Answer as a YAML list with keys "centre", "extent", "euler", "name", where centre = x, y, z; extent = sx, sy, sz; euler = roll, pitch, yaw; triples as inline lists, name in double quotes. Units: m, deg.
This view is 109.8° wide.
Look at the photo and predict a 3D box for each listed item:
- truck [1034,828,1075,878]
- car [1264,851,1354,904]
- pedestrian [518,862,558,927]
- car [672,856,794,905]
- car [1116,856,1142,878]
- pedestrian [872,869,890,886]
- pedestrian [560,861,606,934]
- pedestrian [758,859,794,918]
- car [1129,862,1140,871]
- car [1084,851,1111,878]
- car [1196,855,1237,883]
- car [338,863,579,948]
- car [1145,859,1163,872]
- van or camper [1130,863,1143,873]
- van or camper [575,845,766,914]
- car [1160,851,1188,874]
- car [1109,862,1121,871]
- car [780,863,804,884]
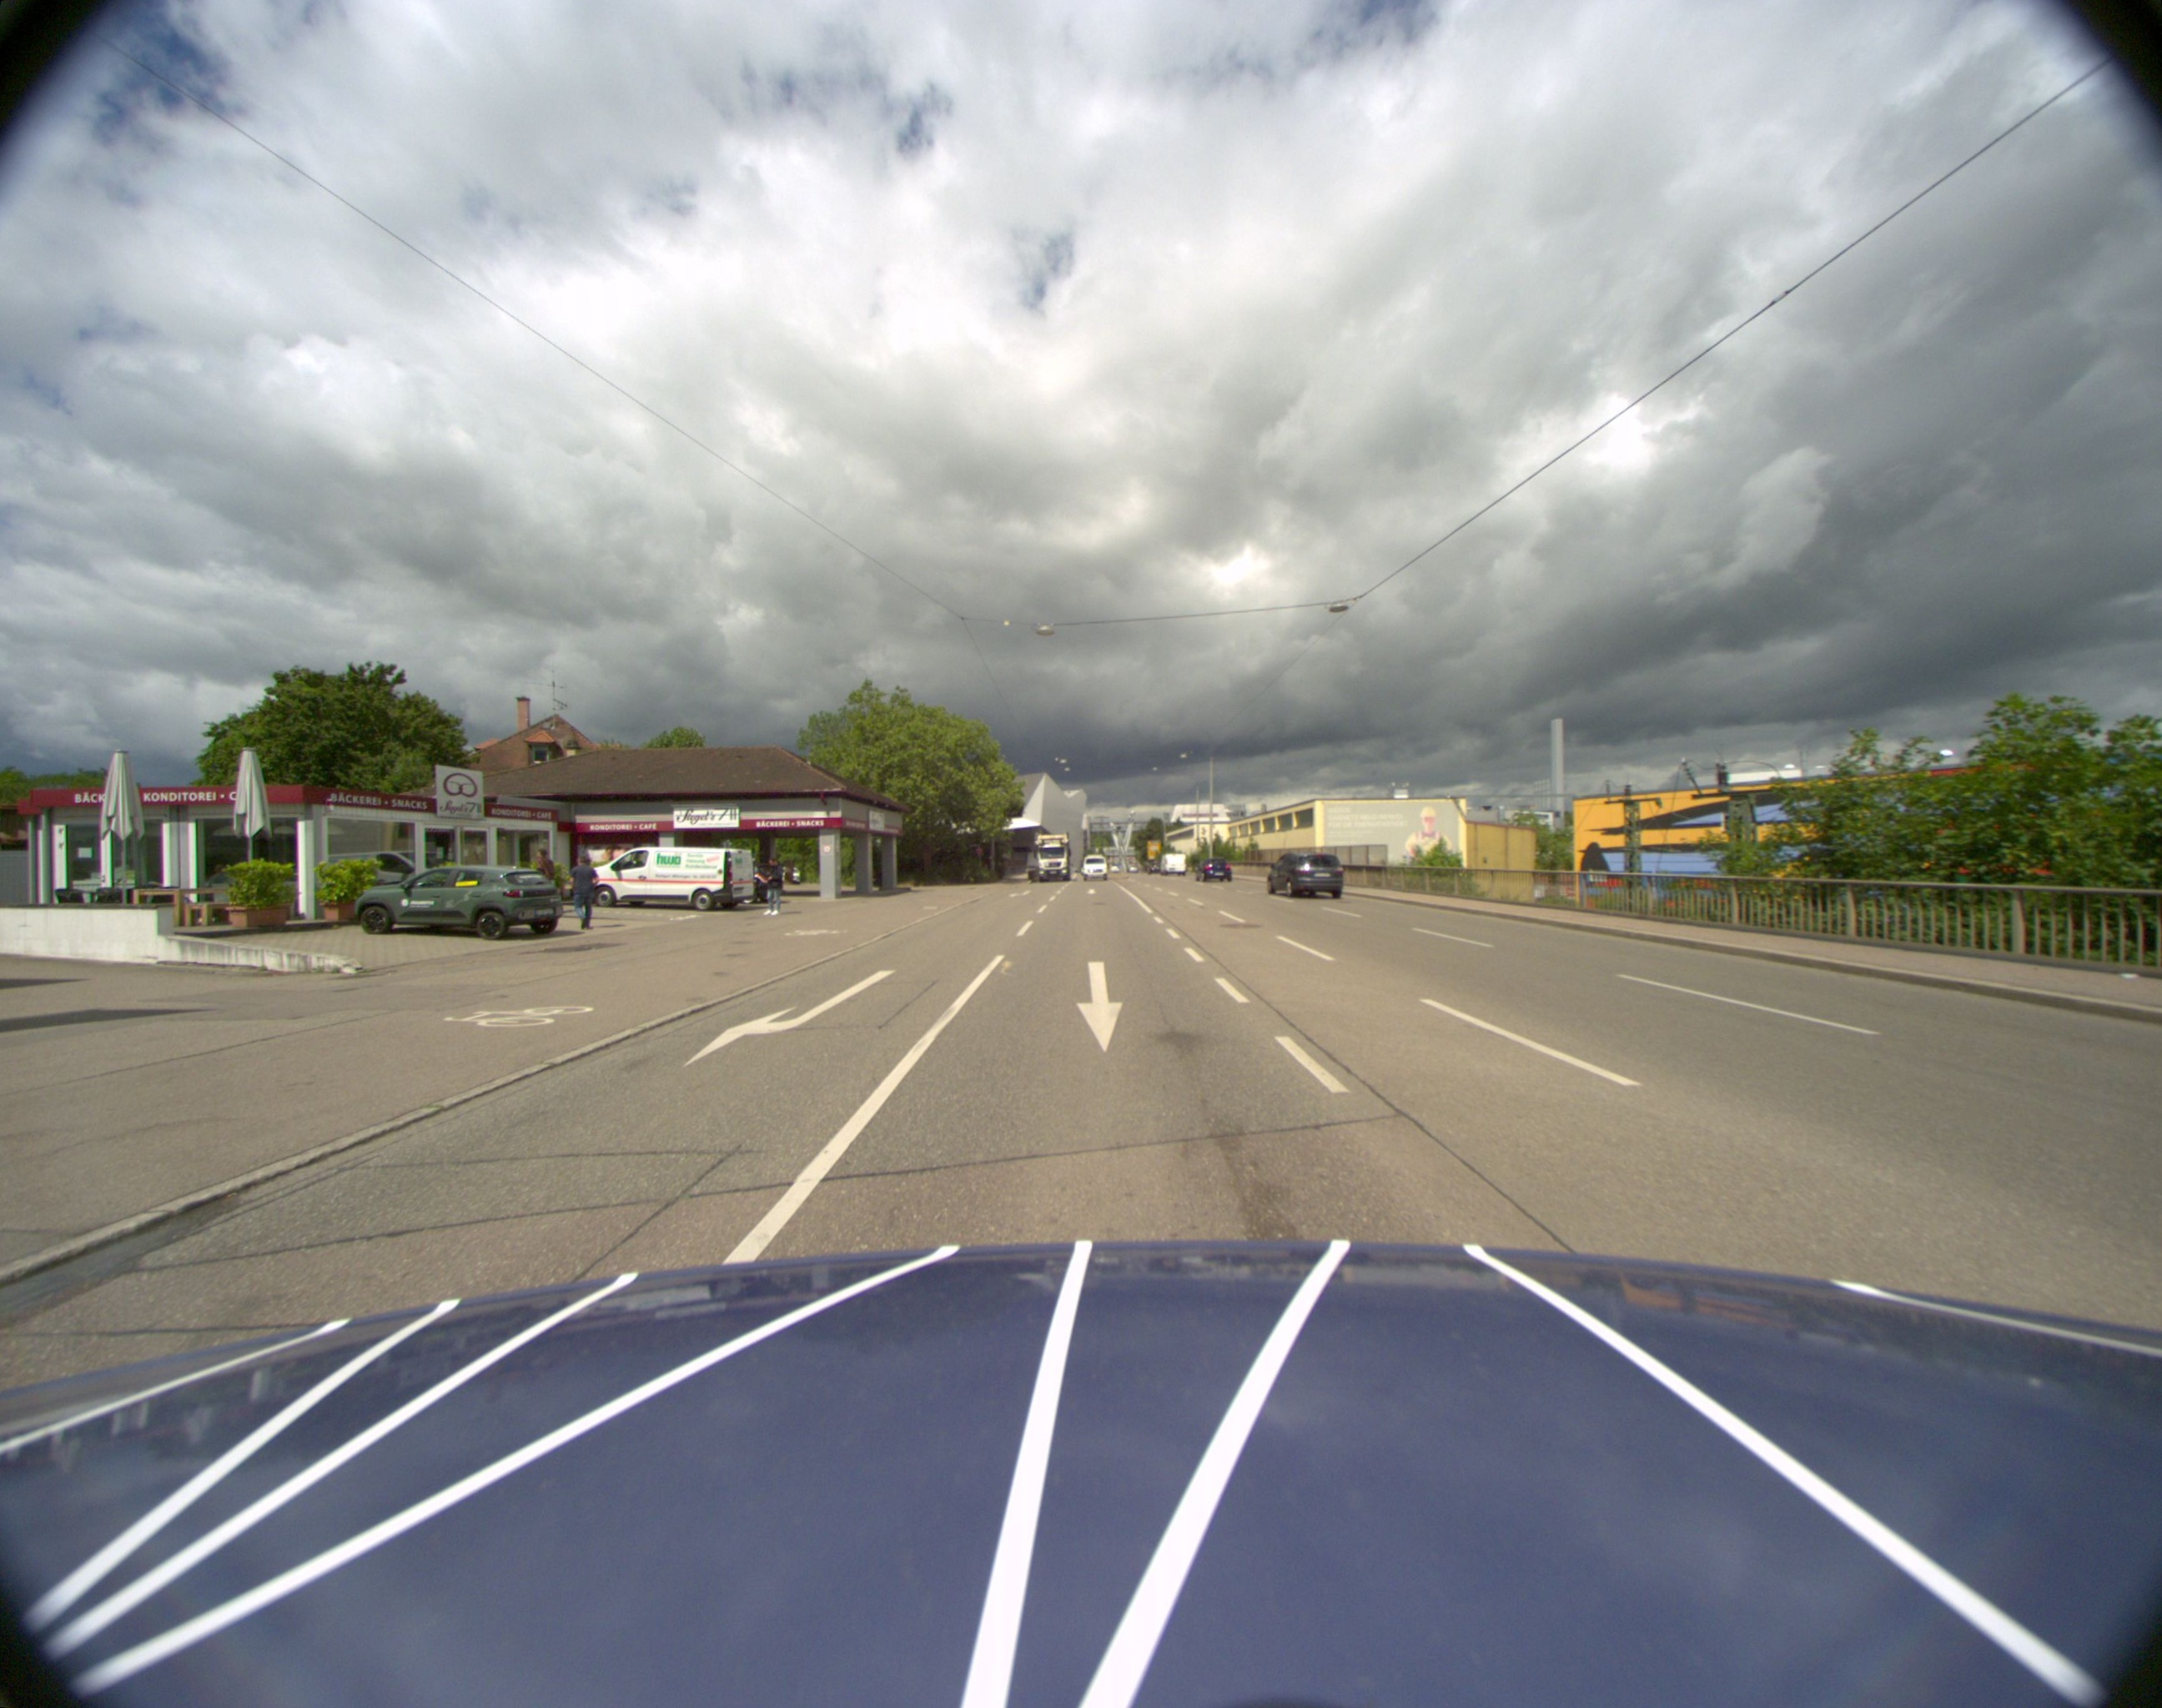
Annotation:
- centre: [-2.071, -0.025, 63.795]
  extent: [2.836, 3.888, 10.367]
  euler: [0, 0, 2]
  name: "truck"
- centre: [8.257, 0.795, 27.999]
  extent: [1.916, 1.692, 4.625]
  euler: [4, 0, 1]
  name: "car"
- centre: [-14.465, 1.062, 20.244]
  extent: [0.749, 1.697, 0.571]
  euler: [0, 0, 28]
  name: "pedestrian"
- centre: [-12.434, 0.933, 27.300]
  extent: [3.460, 1.477, 1.835]
  euler: [3, 1, -2]
  name: "car"
- centre: [3.917, 1.057, 62.861]
  extent: [1.870, 1.782, 4.208]
  euler: [0, 0, 0]
  name: "car"
- centre: [-14.873, 1.759, 56.495]
  extent: [0.884, 1.241, 0.967]
  euler: [-1, 0, 29]
  name: "pedestrian"
- centre: [-11.788, 1.009, 17.996]
  extent: [0.712, 1.697, 0.631]
  euler: [0, 0, 28]
  name: "pedestrian"
- centre: [-8.949, 1.005, 22.326]
  extent: [0.714, 1.697, 0.739]
  euler: [-1, 0, 1]
  name: "pedestrian"
- centre: [9.200, 2.166, 130.332]
  extent: [1.612, 1.404, 3.799]
  euler: [0, 0, -1]
  name: "car"
- centre: [1.335, 0.828, 60.197]
  extent: [1.935, 2.078, 4.209]
  euler: [0, 0, 3]
  name: "car"
- centre: [8.279, 0.898, 46.678]
  extent: [1.861, 1.608, 4.000]
  euler: [-1, 0, 1]
  name: "car"
- centre: [-13.076, 1.037, 16.119]
  extent: [3.675, 1.477, 1.762]
  euler: [3, 1, 3]
  name: "car"
- centre: [8.338, 1.323, 86.590]
  extent: [1.612, 1.404, 3.799]
  euler: [-1, 0, -1]
  name: "car"
- centre: [12.020, 3.033, 165.202]
  extent: [2.164, 2.108, 5.470]
  euler: [0, 0, -1]
  name: "van or camper"
- centre: [-13.021, 0.762, 24.335]
  extent: [4.909, 1.946, 2.212]
  euler: [2, 1, 1]
  name: "van or camper"
- centre: [8.640, 0.803, 70.773]
  extent: [1.896, 2.002, 5.650]
  euler: [-1, 0, 0]
  name: "car"
- centre: [5.785, 2.099, 129.764]
  extent: [1.806, 1.543, 3.770]
  euler: [-1, 0, -2]
  name: "car"
- centre: [-27.596, 1.840, 72.493]
  extent: [2.003, 1.709, 4.104]
  euler: [3, -1, -23]
  name: "car"
